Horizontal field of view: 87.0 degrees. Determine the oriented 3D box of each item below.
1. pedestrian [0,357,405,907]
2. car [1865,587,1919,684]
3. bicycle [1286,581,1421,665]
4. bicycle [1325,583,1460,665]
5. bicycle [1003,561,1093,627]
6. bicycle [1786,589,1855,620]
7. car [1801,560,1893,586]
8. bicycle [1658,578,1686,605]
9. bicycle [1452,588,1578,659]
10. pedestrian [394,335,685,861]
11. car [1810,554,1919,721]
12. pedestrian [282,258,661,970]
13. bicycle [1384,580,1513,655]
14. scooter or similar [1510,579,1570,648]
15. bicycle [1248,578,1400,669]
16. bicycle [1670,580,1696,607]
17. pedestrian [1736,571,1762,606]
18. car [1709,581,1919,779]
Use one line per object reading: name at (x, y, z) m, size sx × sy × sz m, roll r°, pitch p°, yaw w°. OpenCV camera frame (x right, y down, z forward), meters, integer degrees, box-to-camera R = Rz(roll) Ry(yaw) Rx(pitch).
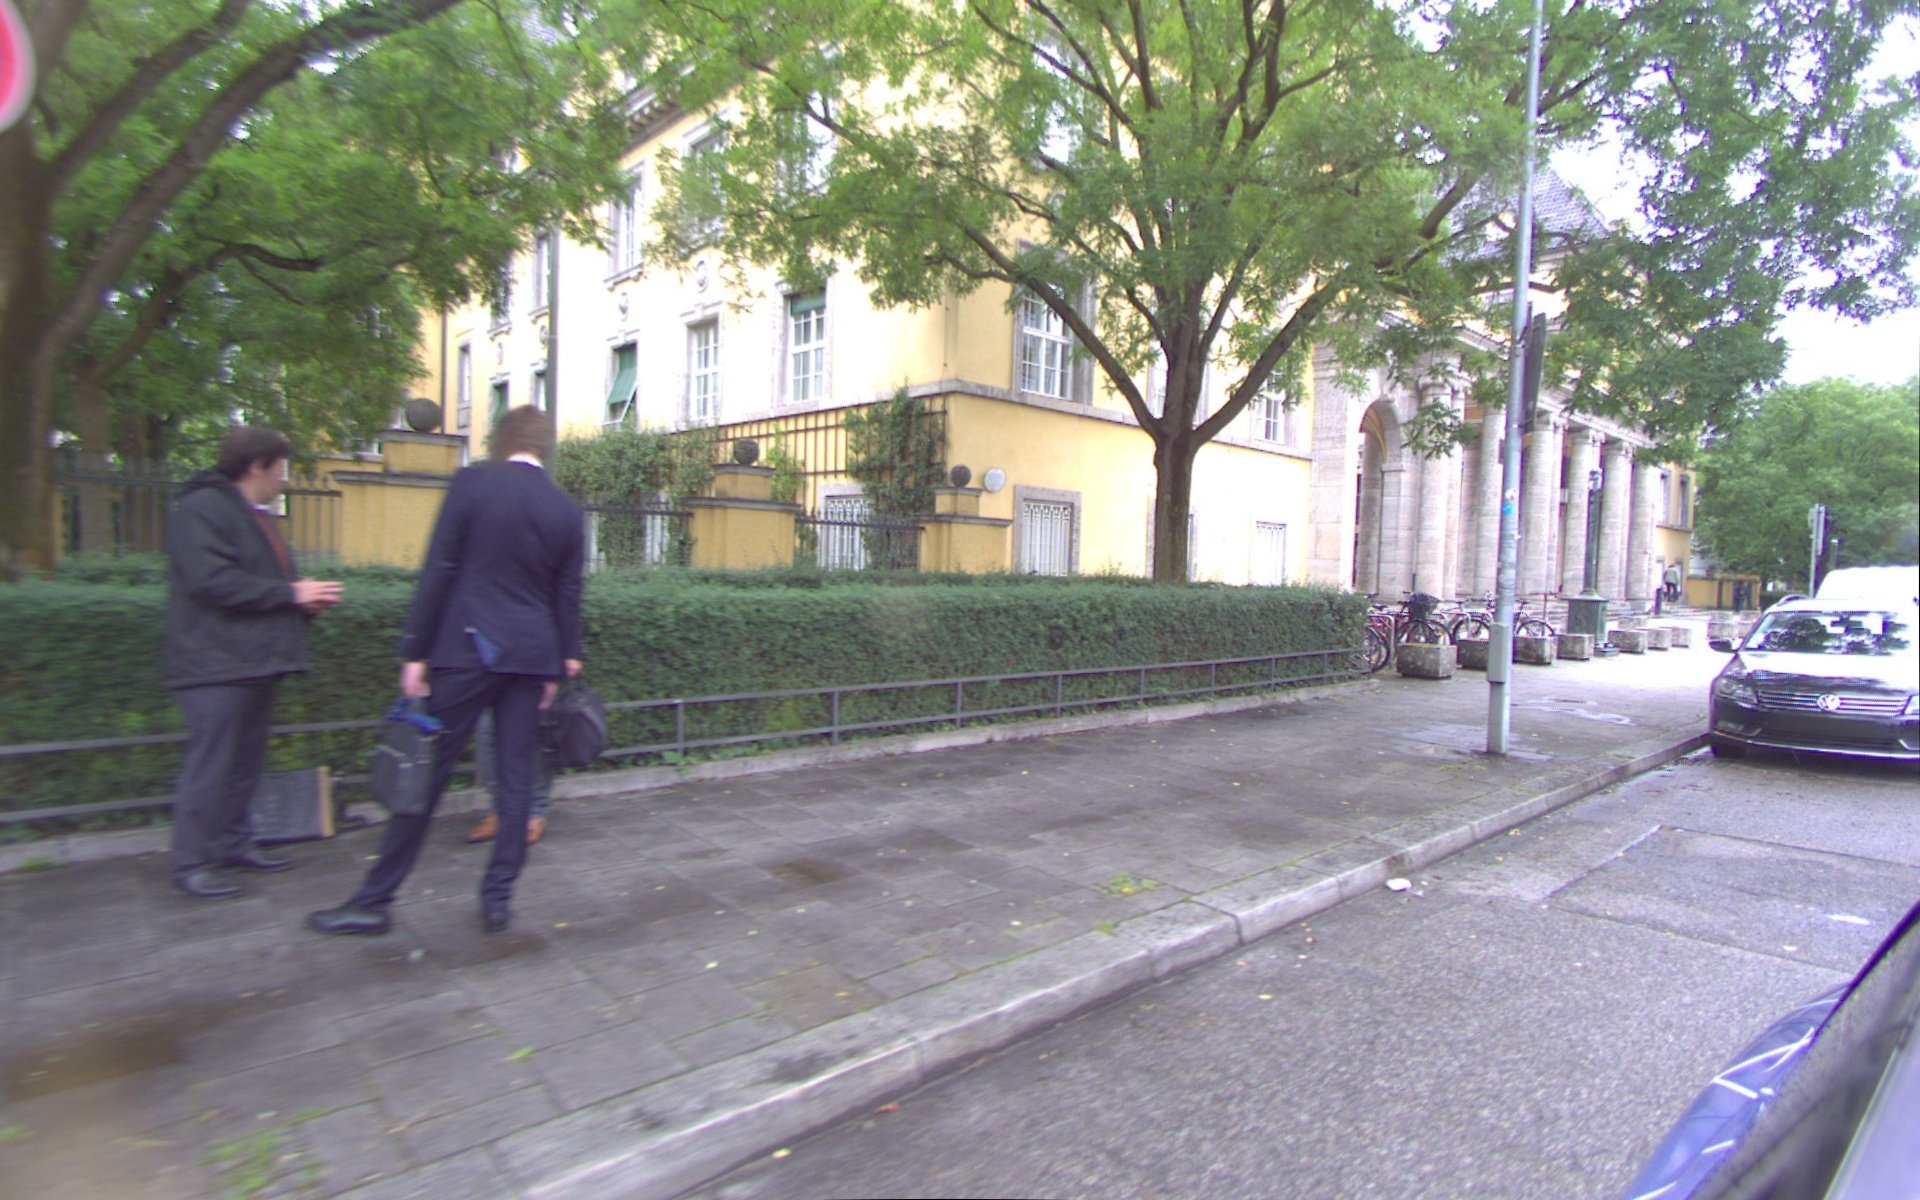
pedestrian at (-2.903, 0.119, 3.979) m, size 1.034 × 1.930 × 0.746 m, roll 2°, pitch 2°, yaw -7°
car at (16.681, 0.585, 17.238) m, size 2.883 × 1.565 × 1.608 m, roll 0°, pitch 1°, yaw -42°
bicycle at (6.154, 0.327, 15.928) m, size 0.463 × 1.127 × 1.936 m, roll 1°, pitch 4°, yaw -40°
bicycle at (6.901, 0.349, 16.256) m, size 0.463 × 1.127 × 1.937 m, roll 1°, pitch 4°, yaw -40°
bicycle at (1.684, -0.104, 19.141) m, size 1.870 × 1.168 × 0.543 m, roll 1°, pitch 3°, yaw -44°
bicycle at (39.621, 0.201, 46.626) m, size 2.254 × 1.107 × 0.594 m, roll 10°, pitch 8°, yaw 37°
car at (65.004, -1.998, 74.234) m, size 1.934 × 1.702 × 4.902 m, roll 0°, pitch 4°, yaw -44°
bicycle at (36.016, -0.445, 51.181) m, size 2.226 × 1.323 × 0.601 m, roll 0°, pitch 4°, yaw -43°
bicycle at (10.265, 0.400, 18.776) m, size 0.463 × 1.127 × 1.934 m, roll 0°, pitch 4°, yaw -44°
pedestrian at (-1.979, -0.025, 4.779) m, size 1.038 × 2.160 × 0.743 m, roll 0°, pitch 3°, yaw -43°
car at (13.092, 0.431, 13.732) m, size 5.185 × 1.957 × 1.846 m, roll 0°, pitch 0°, yaw -44°
pedestrian at (-1.776, 0.030, 3.694) m, size 1.038 × 2.160 × 0.743 m, roll 0°, pitch 3°, yaw -43°
bicycle at (8.475, 0.270, 17.639) m, size 0.463 × 1.127 × 1.937 m, roll 1°, pitch 4°, yaw -40°
scooter or similar at (11.224, 0.250, 19.608) m, size 0.528 × 1.237 × 1.012 m, roll 3°, pitch 3°, yaw 2°
bicycle at (5.256, 0.309, 14.735) m, size 0.463 × 1.127 × 2.034 m, roll 0°, pitch 4°, yaw -45°
bicycle at (37.707, -0.337, 52.764) m, size 2.129 × 1.323 × 0.601 m, roll 0°, pitch 4°, yaw -43°
pedestrian at (40.646, -0.587, 52.143) m, size 1.038 × 1.767 × 0.789 m, roll 0°, pitch 3°, yaw -43°
car at (8.754, 0.601, 9.761) m, size 1.772 × 1.509 × 4.893 m, roll 1°, pitch 1°, yaw 45°
